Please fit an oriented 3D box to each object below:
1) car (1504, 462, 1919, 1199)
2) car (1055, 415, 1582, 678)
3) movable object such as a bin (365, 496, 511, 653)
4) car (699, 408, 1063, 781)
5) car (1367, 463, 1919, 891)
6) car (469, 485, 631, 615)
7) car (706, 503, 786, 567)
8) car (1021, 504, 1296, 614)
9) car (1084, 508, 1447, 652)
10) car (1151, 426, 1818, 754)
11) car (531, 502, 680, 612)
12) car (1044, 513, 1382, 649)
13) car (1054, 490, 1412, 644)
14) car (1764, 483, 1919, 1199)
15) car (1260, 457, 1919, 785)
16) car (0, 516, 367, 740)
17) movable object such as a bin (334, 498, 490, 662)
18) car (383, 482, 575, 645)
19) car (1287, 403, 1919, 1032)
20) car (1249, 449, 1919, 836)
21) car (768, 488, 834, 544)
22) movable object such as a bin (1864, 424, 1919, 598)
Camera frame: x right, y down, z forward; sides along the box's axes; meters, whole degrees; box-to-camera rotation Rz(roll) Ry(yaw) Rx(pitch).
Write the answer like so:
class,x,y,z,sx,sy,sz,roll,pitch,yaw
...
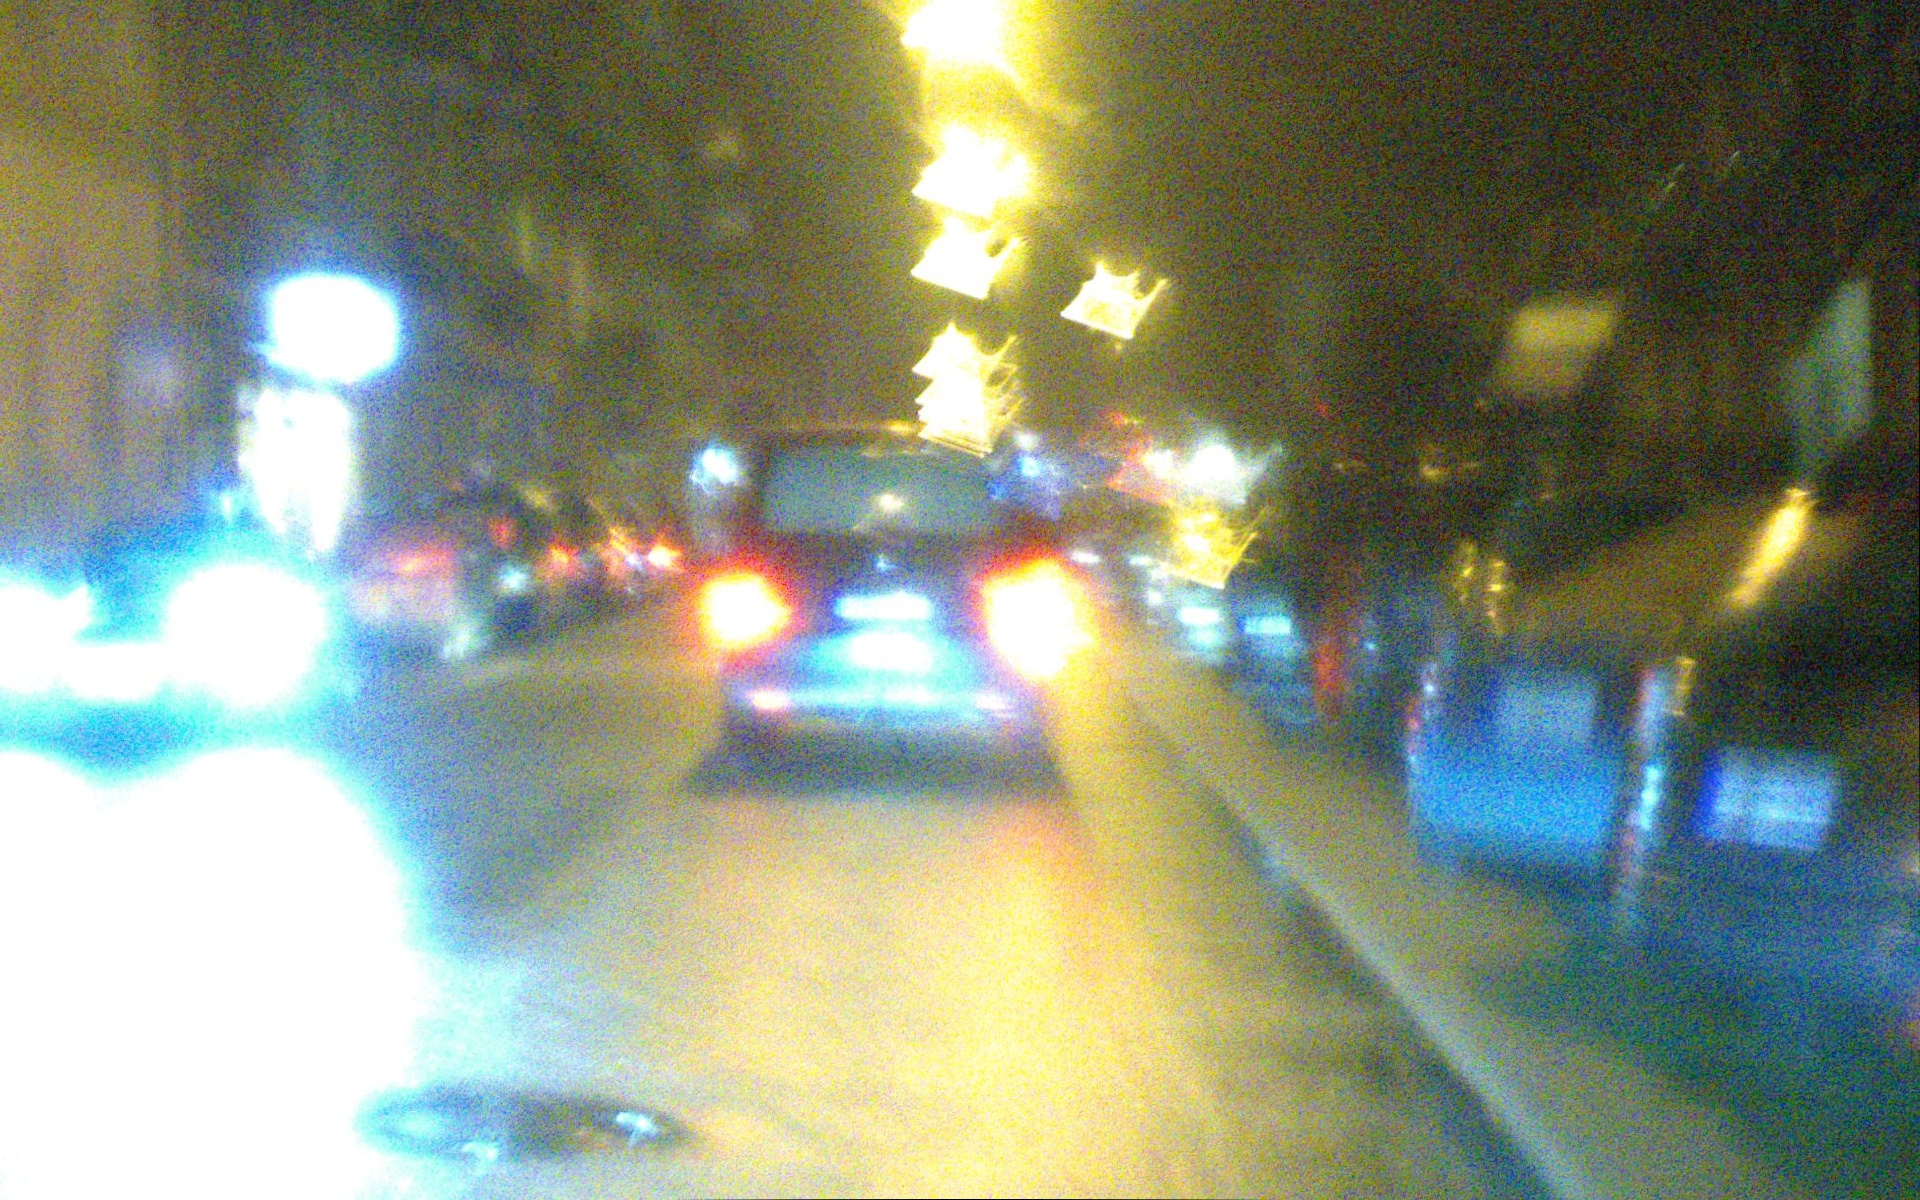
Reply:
class,x,y,z,sx,sy,sz,roll,pitch,yaw
car,3.388,0.471,8.792,3.553,1.605,1.713,0,2,-21
car,3.371,-0.539,31.878,4.711,2.240,1.946,-3,2,-36
movable object such as a bin,-4.969,-0.252,32.800,1.165,1.454,1.107,1,1,2
car,-0.428,-0.064,20.844,1.993,2.043,4.000,0,1,0
car,3.956,0.247,14.520,4.048,1.605,1.845,0,2,-23
car,-5.172,-0.673,43.759,1.603,1.547,4.026,1,2,0
car,-5.076,-1.569,81.906,1.587,1.477,3.793,0,2,1
car,2.930,-0.616,50.653,3.671,1.455,1.604,-3,2,-25
car,3.681,-0.266,41.124,3.988,1.547,1.999,-3,2,-37
car,3.486,-0.116,22.516,4.235,1.852,1.716,-4,2,-35
car,-5.001,-0.649,48.969,1.686,1.450,4.316,1,2,0
car,3.232,-0.259,43.594,3.988,1.547,1.804,-3,2,-35
car,3.013,-0.382,37.777,3.641,1.536,1.560,-3,2,-29
car,3.217,0.566,6.362,3.038,1.546,1.505,0,2,-21
car,3.754,0.064,19.818,3.763,1.722,1.717,-1,2,-33
car,-5.216,0.119,23.319,1.654,1.354,4.222,0,2,0
movable object such as a bin,-5.031,-0.196,31.624,1.208,1.454,1.107,1,1,2
car,-5.227,-0.440,37.724,1.603,1.700,3.722,0,2,0
car,3.329,0.286,11.230,4.092,1.758,1.859,0,2,-22
car,3.506,0.140,16.810,3.790,1.722,1.742,-1,2,-22
car,-4.543,-2.395,97.586,1.812,1.552,4.077,0,2,-3
movable object such as a bin,8.539,-0.806,29.482,1.209,1.446,0.999,-5,1,1
